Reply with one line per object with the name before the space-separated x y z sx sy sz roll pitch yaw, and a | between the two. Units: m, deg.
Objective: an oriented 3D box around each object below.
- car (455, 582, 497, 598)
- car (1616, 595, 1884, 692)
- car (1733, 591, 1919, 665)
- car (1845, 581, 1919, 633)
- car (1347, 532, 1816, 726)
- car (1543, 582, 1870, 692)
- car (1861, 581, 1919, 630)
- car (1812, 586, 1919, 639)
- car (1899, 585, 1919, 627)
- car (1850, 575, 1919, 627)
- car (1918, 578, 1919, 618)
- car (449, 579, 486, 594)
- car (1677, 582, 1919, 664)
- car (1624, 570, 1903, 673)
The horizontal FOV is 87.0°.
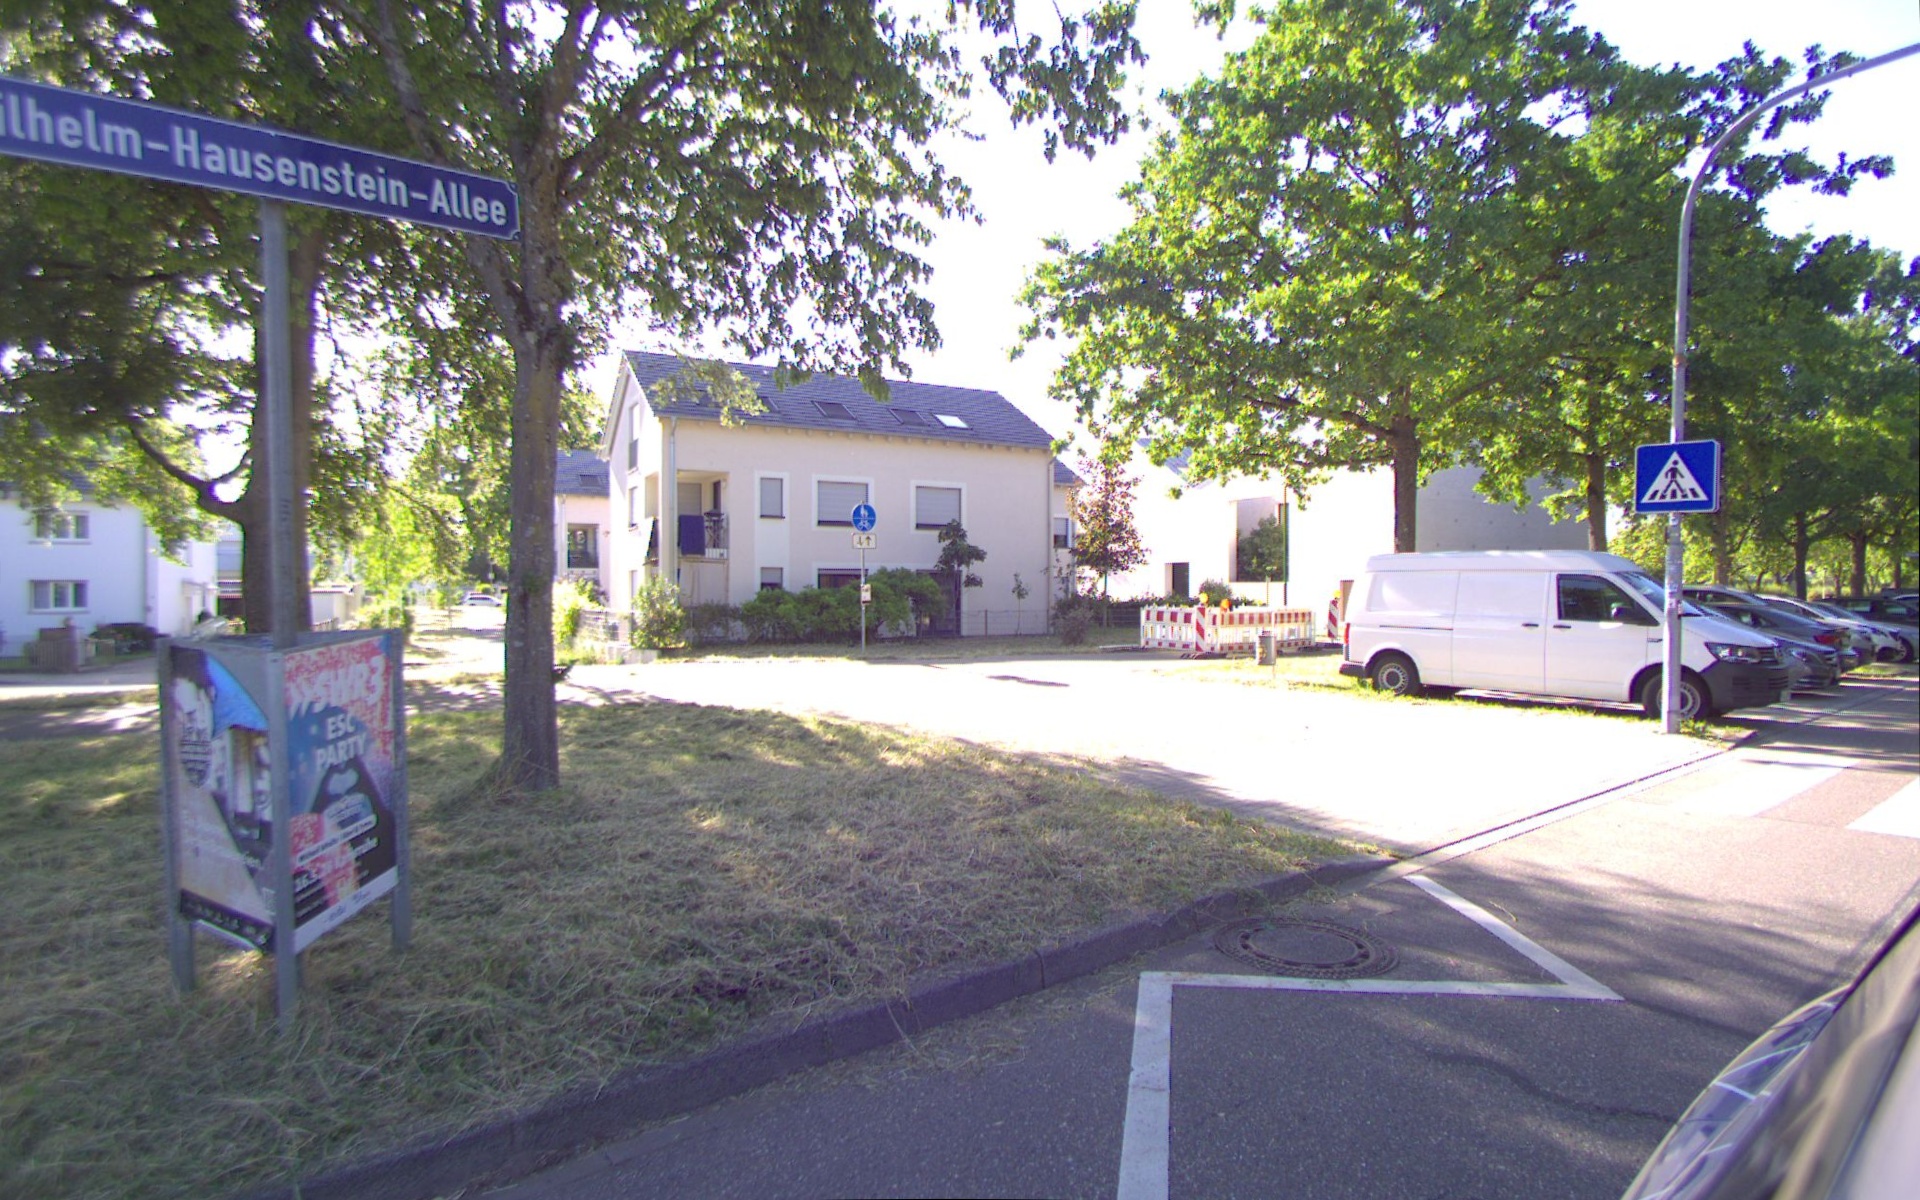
car | -62.291 -1.292 130.203 4.543 2.039 1.995 0 0 -43
car | 13.999 0.707 18.099 1.421 1.561 3.517 0 0 -37
car | 21.517 0.628 24.643 1.504 1.681 4.020 0 0 -37
car | 32.945 0.229 34.164 1.504 1.765 4.396 0 0 -37
car | 8.013 0.265 13.566 1.857 2.107 5.045 0 1 -39
car | 12.081 0.532 16.614 1.725 1.583 3.997 0 0 -37
car | 35.933 0.193 36.896 1.504 1.765 4.396 0 0 -37
car | 30.425 0.392 32.550 1.504 1.662 4.396 0 0 -37
car | 41.437 0.231 41.262 1.504 1.765 4.396 0 0 -37
car | 37.909 0.030 39.629 1.504 2.013 4.396 0 0 -37
car | 43.715 -0.111 42.851 1.504 1.765 4.396 0 0 -37
car | -68.368 -1.925 140.538 4.524 2.039 2.003 0 0 -24
car | 18.994 0.489 23.090 1.504 1.700 4.020 0 0 -37
car | 15.704 0.379 19.981 1.681 1.816 4.020 0 0 -37
